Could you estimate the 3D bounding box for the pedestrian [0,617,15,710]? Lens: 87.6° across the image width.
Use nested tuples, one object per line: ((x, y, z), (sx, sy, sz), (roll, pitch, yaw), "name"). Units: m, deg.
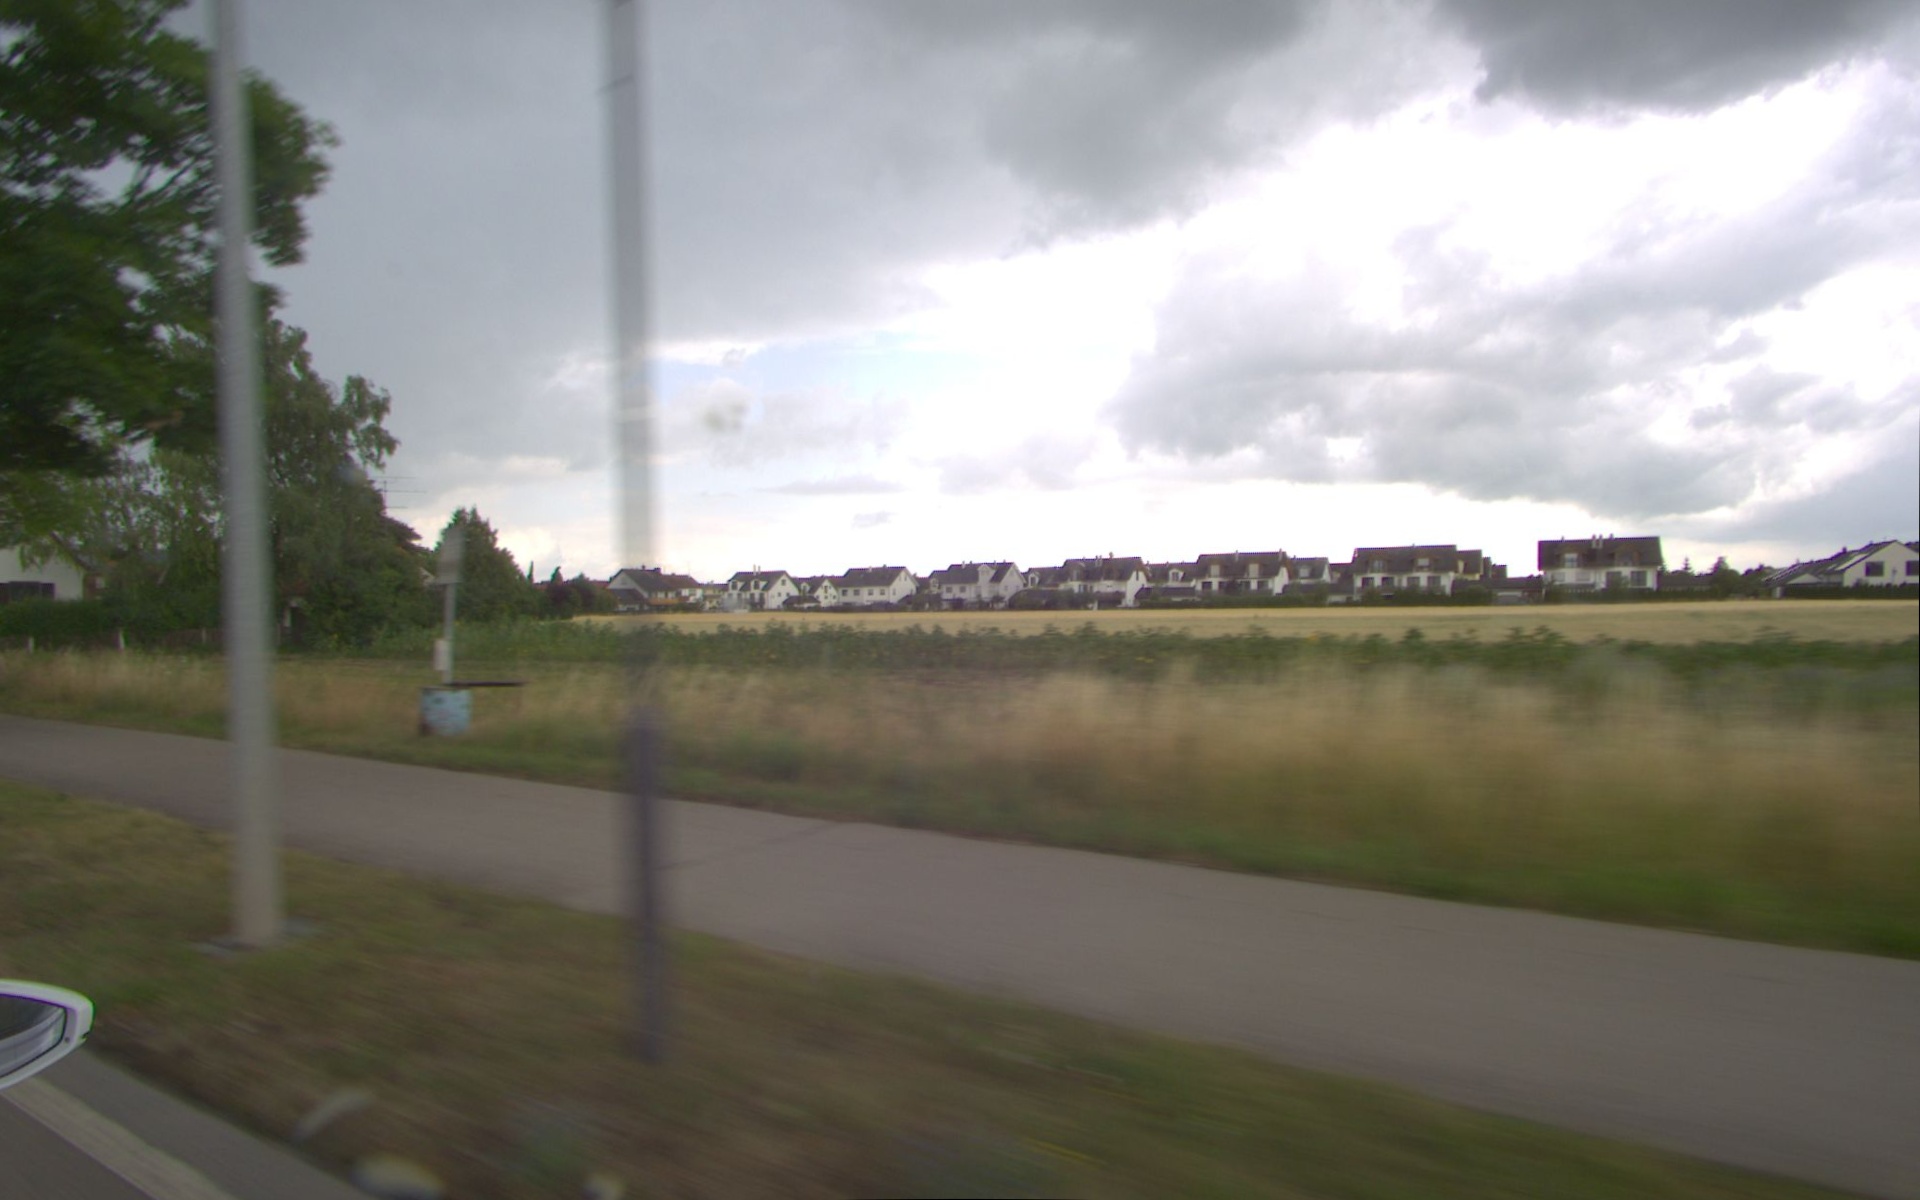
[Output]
((-18.862, 1.231, 19.279), (0.858, 1.778, 0.834), (-1, 0, 37), "pedestrian")
